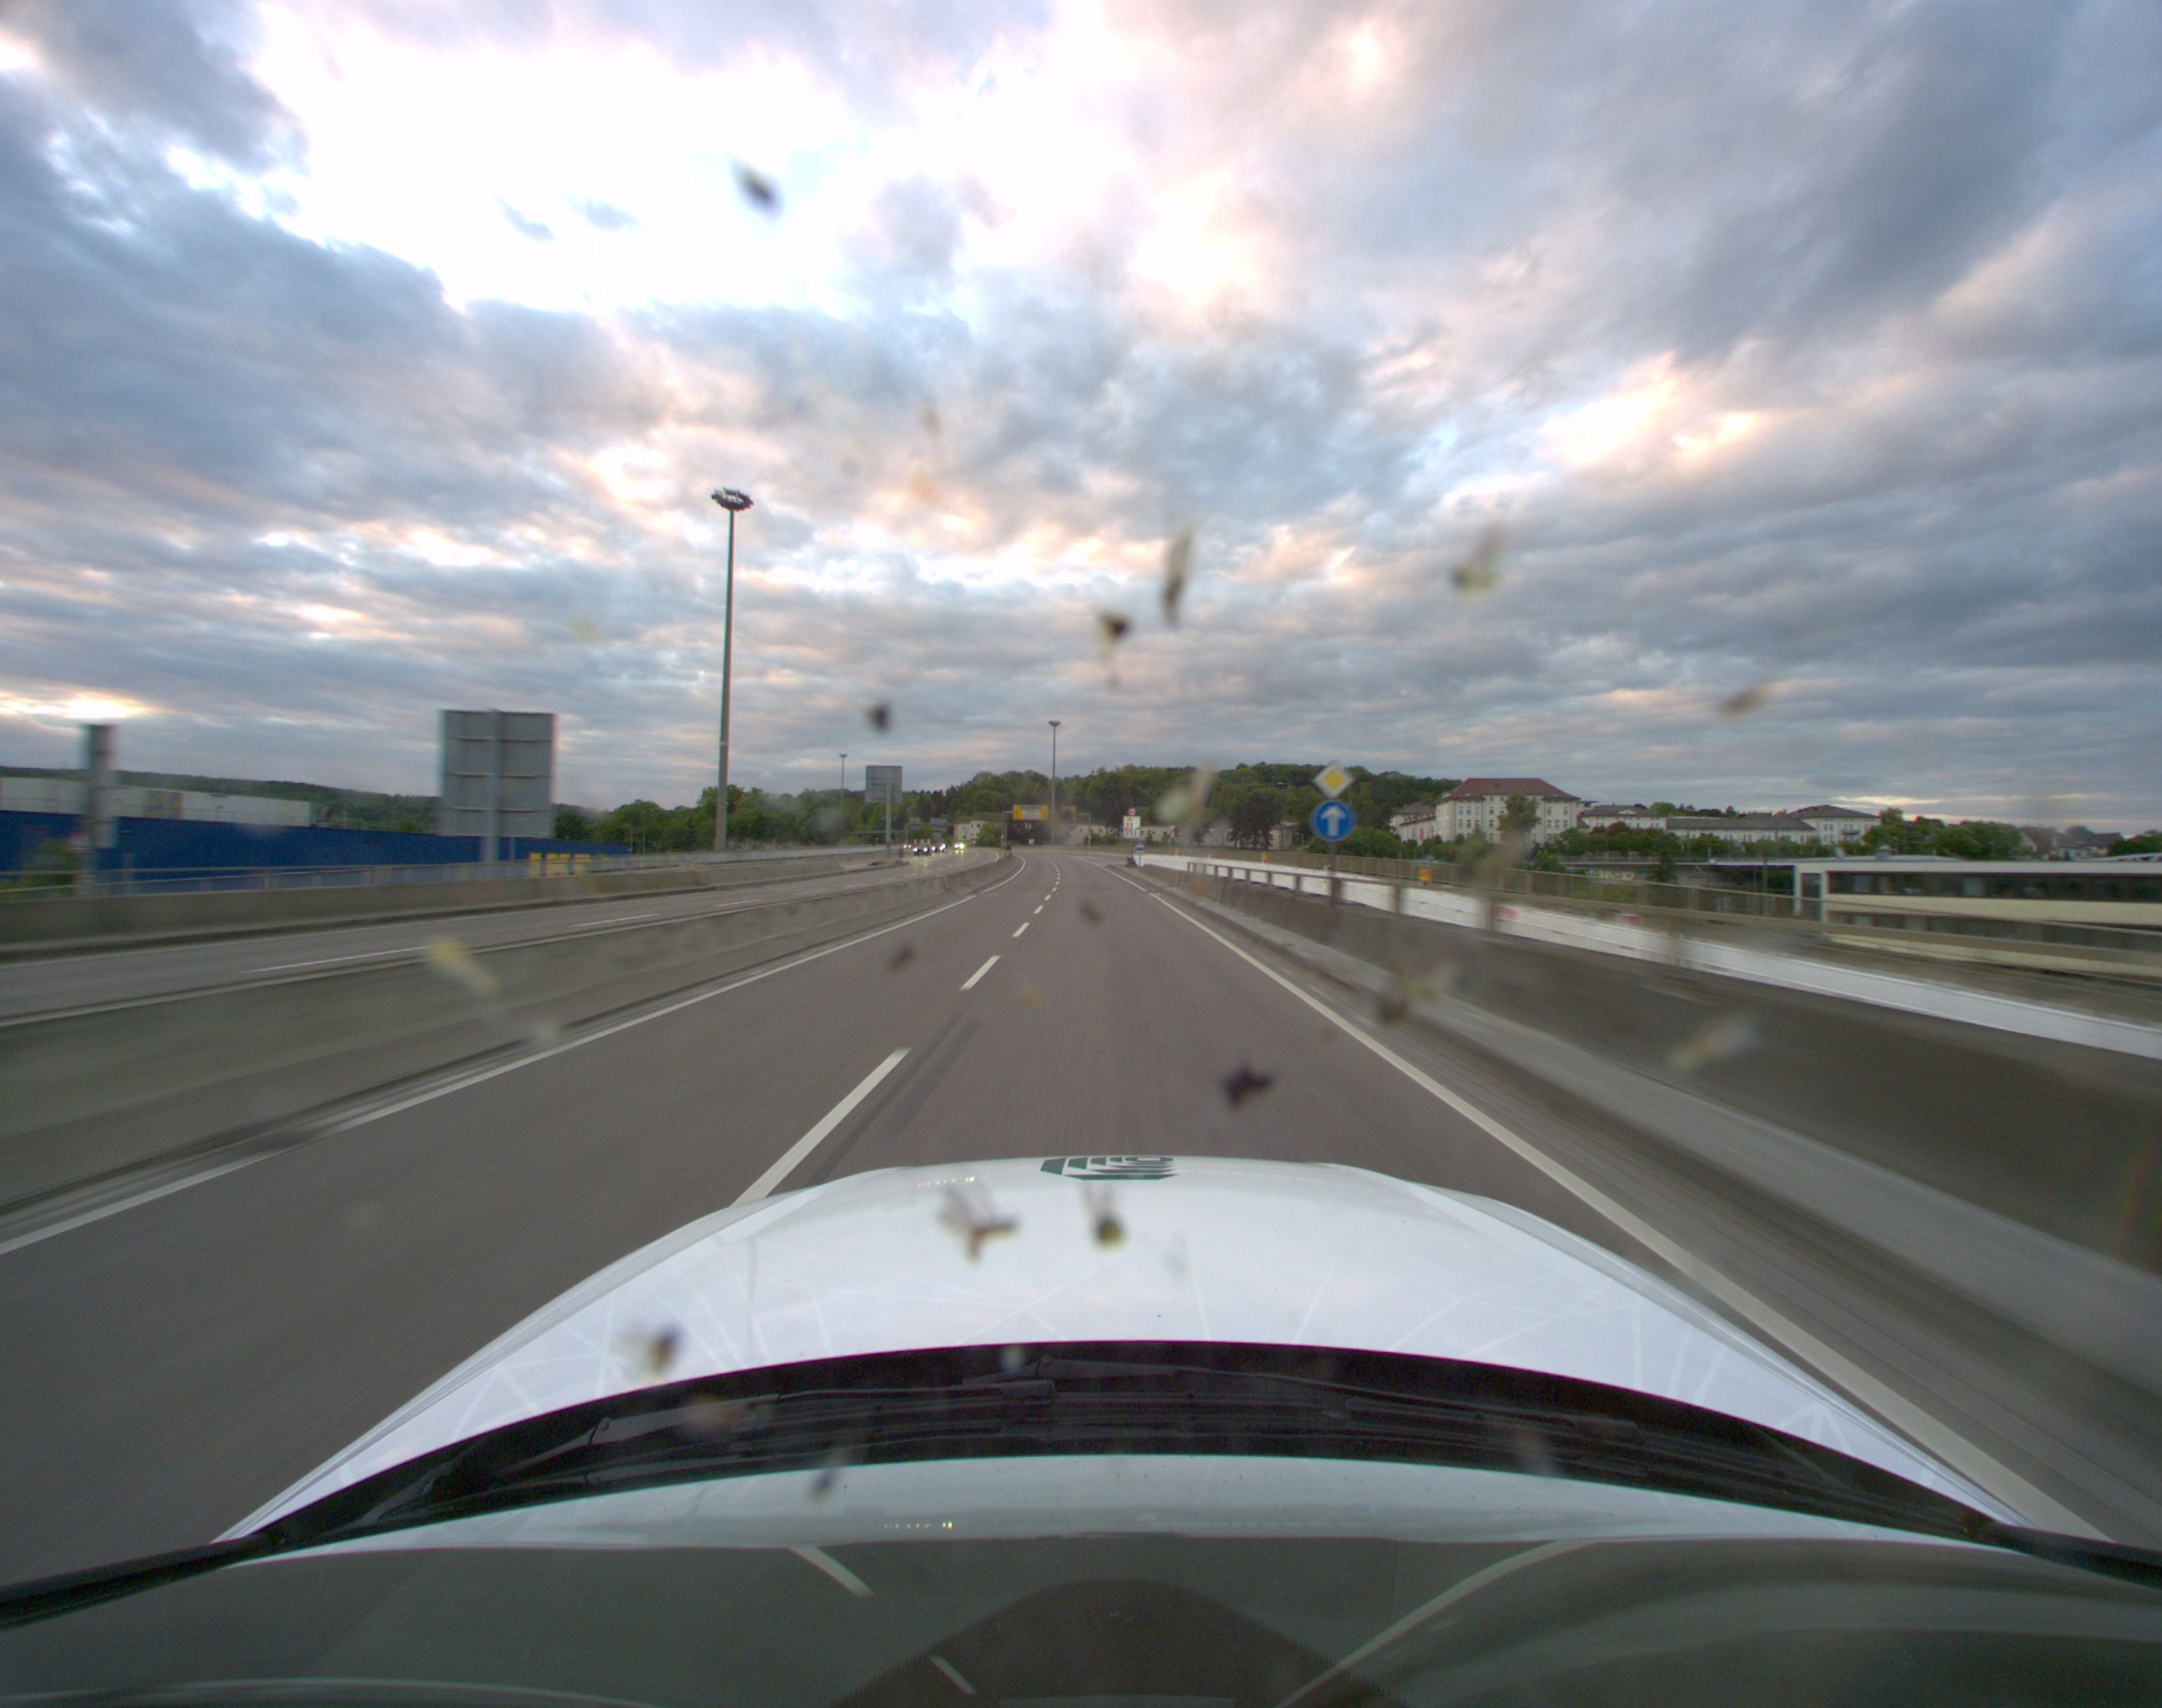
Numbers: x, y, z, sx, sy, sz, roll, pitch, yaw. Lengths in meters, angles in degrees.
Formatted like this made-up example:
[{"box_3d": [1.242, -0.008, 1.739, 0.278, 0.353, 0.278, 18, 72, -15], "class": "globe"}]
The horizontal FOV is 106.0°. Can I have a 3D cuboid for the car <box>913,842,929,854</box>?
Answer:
[{"box_3d": [-21.675, -0.827, 110.622, 1.633, 1.717, 3.996, 0, 1, -3], "class": "car"}]

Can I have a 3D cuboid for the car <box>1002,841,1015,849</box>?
[{"box_3d": [-16.431, -2.016, 185.309, 2.308, 1.763, 4.242, 2, 0, -14], "class": "car"}]

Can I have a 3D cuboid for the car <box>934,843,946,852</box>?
[{"box_3d": [-23.428, -1.079, 135.108, 1.794, 1.486, 3.832, 0, 1, -7], "class": "car"}]

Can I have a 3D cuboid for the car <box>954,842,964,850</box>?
[{"box_3d": [-25.198, -1.685, 168.462, 1.712, 1.494, 4.063, 0, 1, -13], "class": "car"}]
